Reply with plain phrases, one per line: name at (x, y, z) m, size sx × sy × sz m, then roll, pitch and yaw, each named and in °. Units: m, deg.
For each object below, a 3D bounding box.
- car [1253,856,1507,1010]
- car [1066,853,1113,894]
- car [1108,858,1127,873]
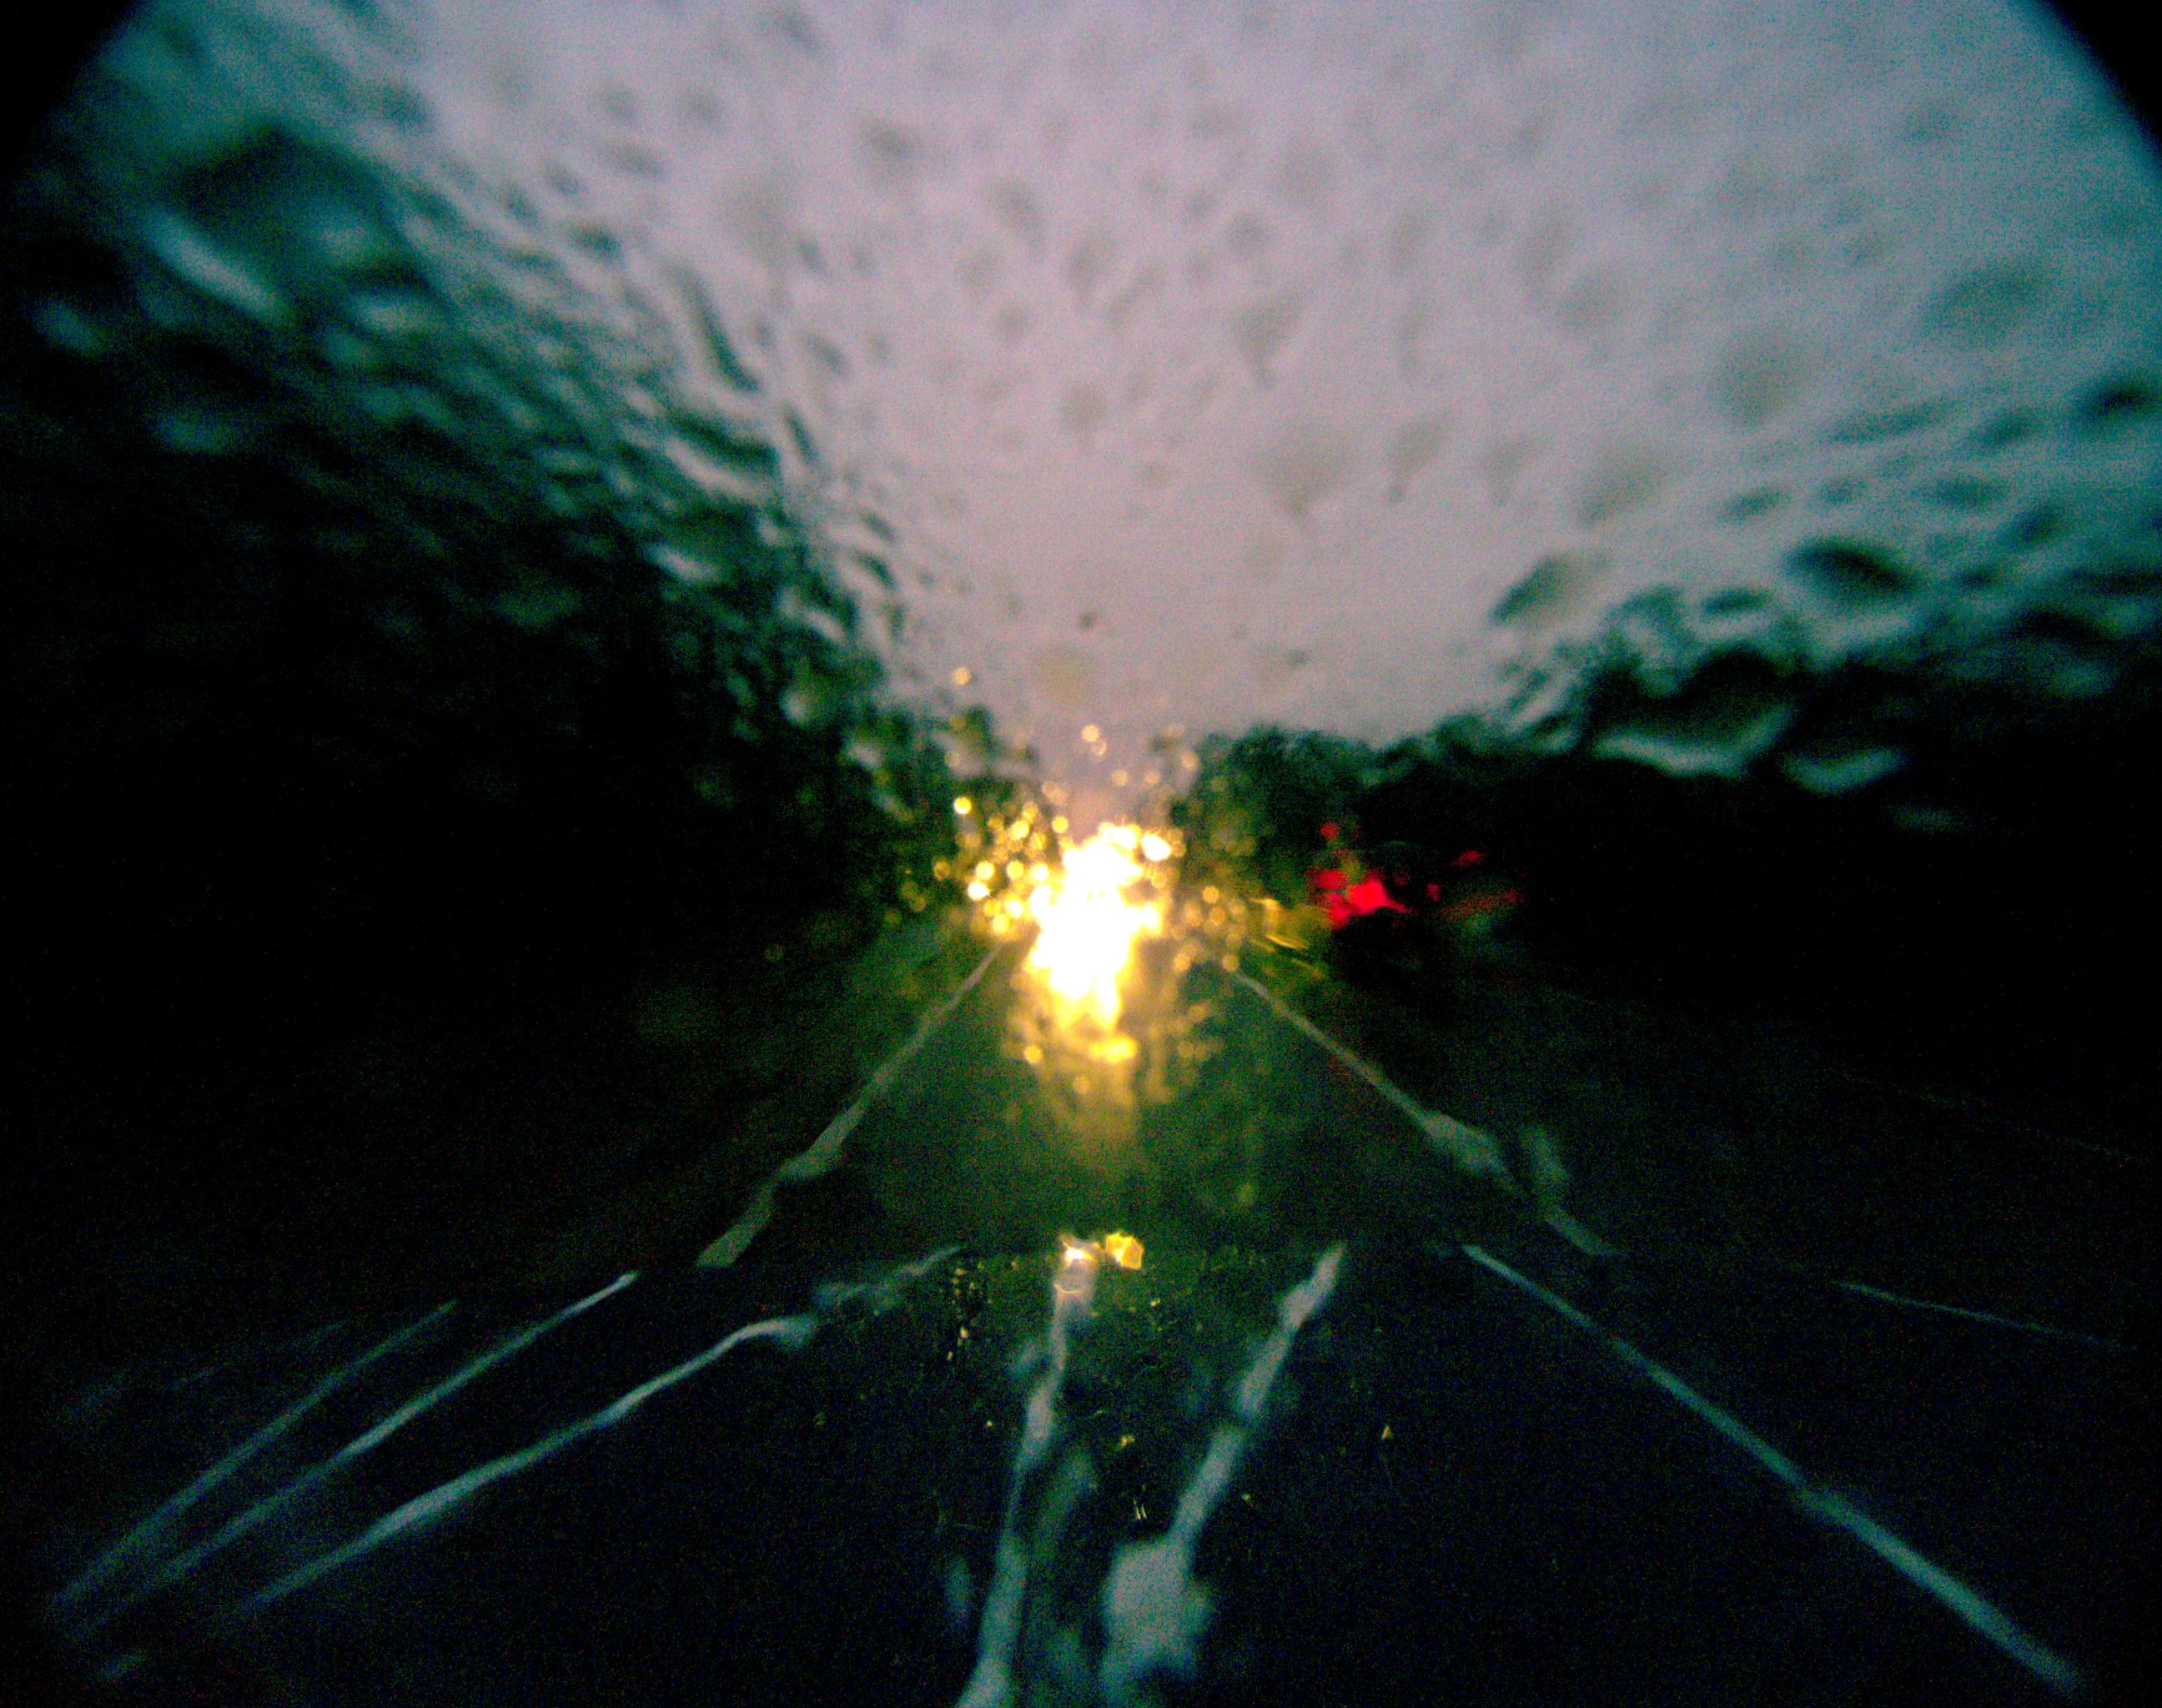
car at (3.654, 0.855, 10.145) m, size 1.771 × 1.589 × 3.999 m, roll 1°, pitch 0°, yaw 0°
car at (0.362, 0.795, 32.925) m, size 1.860 × 1.604 × 4.000 m, roll -1°, pitch 0°, yaw 0°
car at (3.880, 1.213, 80.391) m, size 1.809 × 1.478 × 4.000 m, roll 1°, pitch 0°, yaw 0°
